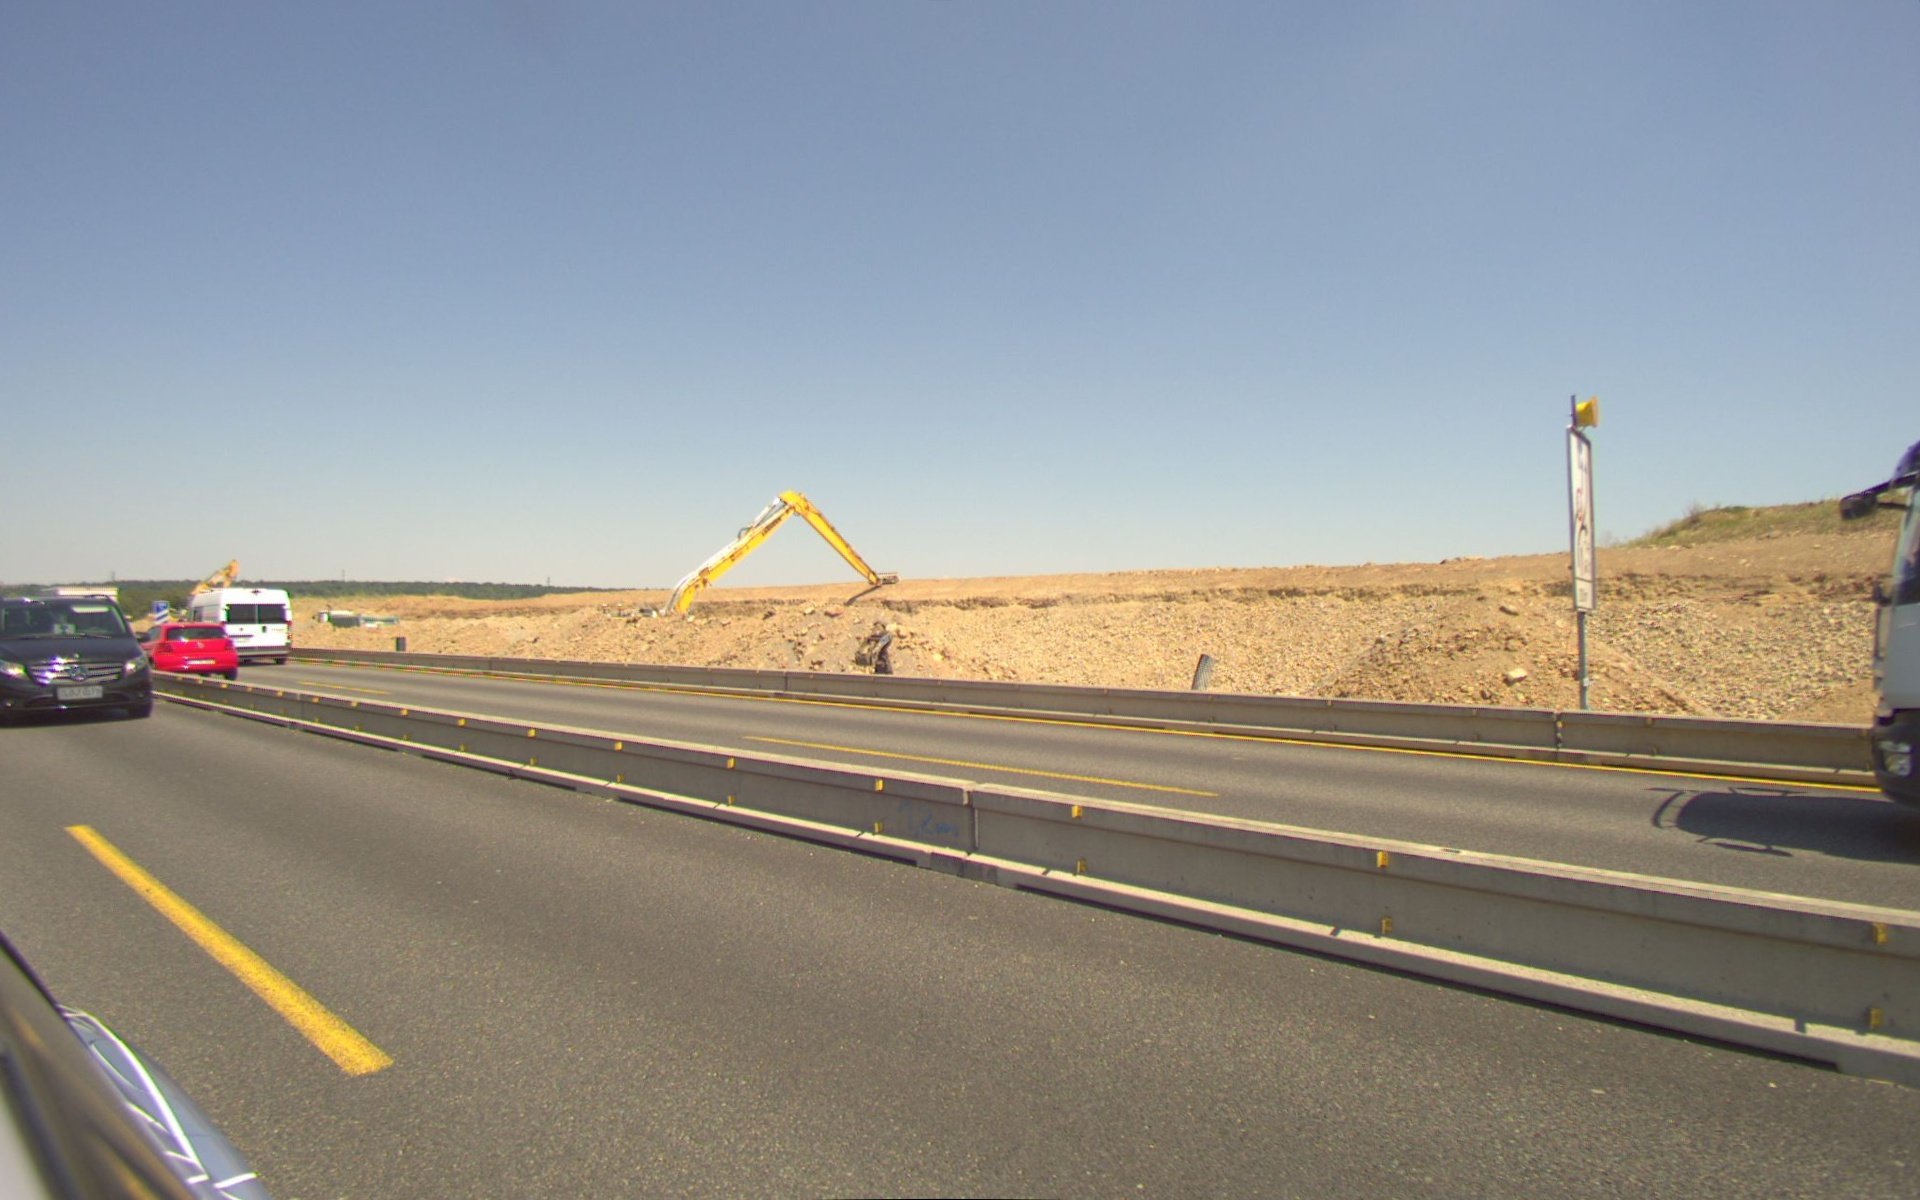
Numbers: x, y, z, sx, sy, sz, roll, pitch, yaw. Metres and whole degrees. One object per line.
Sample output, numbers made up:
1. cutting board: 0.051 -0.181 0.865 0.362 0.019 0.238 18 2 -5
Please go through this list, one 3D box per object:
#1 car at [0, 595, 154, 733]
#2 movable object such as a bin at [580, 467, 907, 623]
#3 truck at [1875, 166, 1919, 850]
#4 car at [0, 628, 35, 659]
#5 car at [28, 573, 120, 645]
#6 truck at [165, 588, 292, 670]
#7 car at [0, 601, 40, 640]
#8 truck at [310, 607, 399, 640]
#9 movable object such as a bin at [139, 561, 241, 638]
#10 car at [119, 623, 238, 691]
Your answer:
1. car: -14.650 0.936 16.186 5.477 1.865 1.854 -2 -1 42
2. movable object such as a bin: -10.274 -2.471 52.264 3.387 6.823 18.030 -1 0 41
3. truck: 9.571 -0.569 3.436 9.479 3.744 2.617 -1 0 42
4. car: -48.474 2.190 51.371 4.560 1.493 1.769 -1 0 42
5. car: -49.457 0.552 56.410 8.087 3.769 2.878 -2 -1 42
6. truck: -25.224 1.043 34.777 6.350 2.589 2.076 -3 -1 41
7. car: -75.784 1.650 81.242 5.847 2.978 2.228 -1 0 42
8. truck: -41.841 1.604 69.775 8.797 2.074 2.536 -1 0 40
9. movable object such as a bin: -75.167 -0.032 98.910 4.080 7.167 7.283 -1 0 41
10. car: -19.367 1.350 25.030 4.052 1.495 1.610 -1 0 42
